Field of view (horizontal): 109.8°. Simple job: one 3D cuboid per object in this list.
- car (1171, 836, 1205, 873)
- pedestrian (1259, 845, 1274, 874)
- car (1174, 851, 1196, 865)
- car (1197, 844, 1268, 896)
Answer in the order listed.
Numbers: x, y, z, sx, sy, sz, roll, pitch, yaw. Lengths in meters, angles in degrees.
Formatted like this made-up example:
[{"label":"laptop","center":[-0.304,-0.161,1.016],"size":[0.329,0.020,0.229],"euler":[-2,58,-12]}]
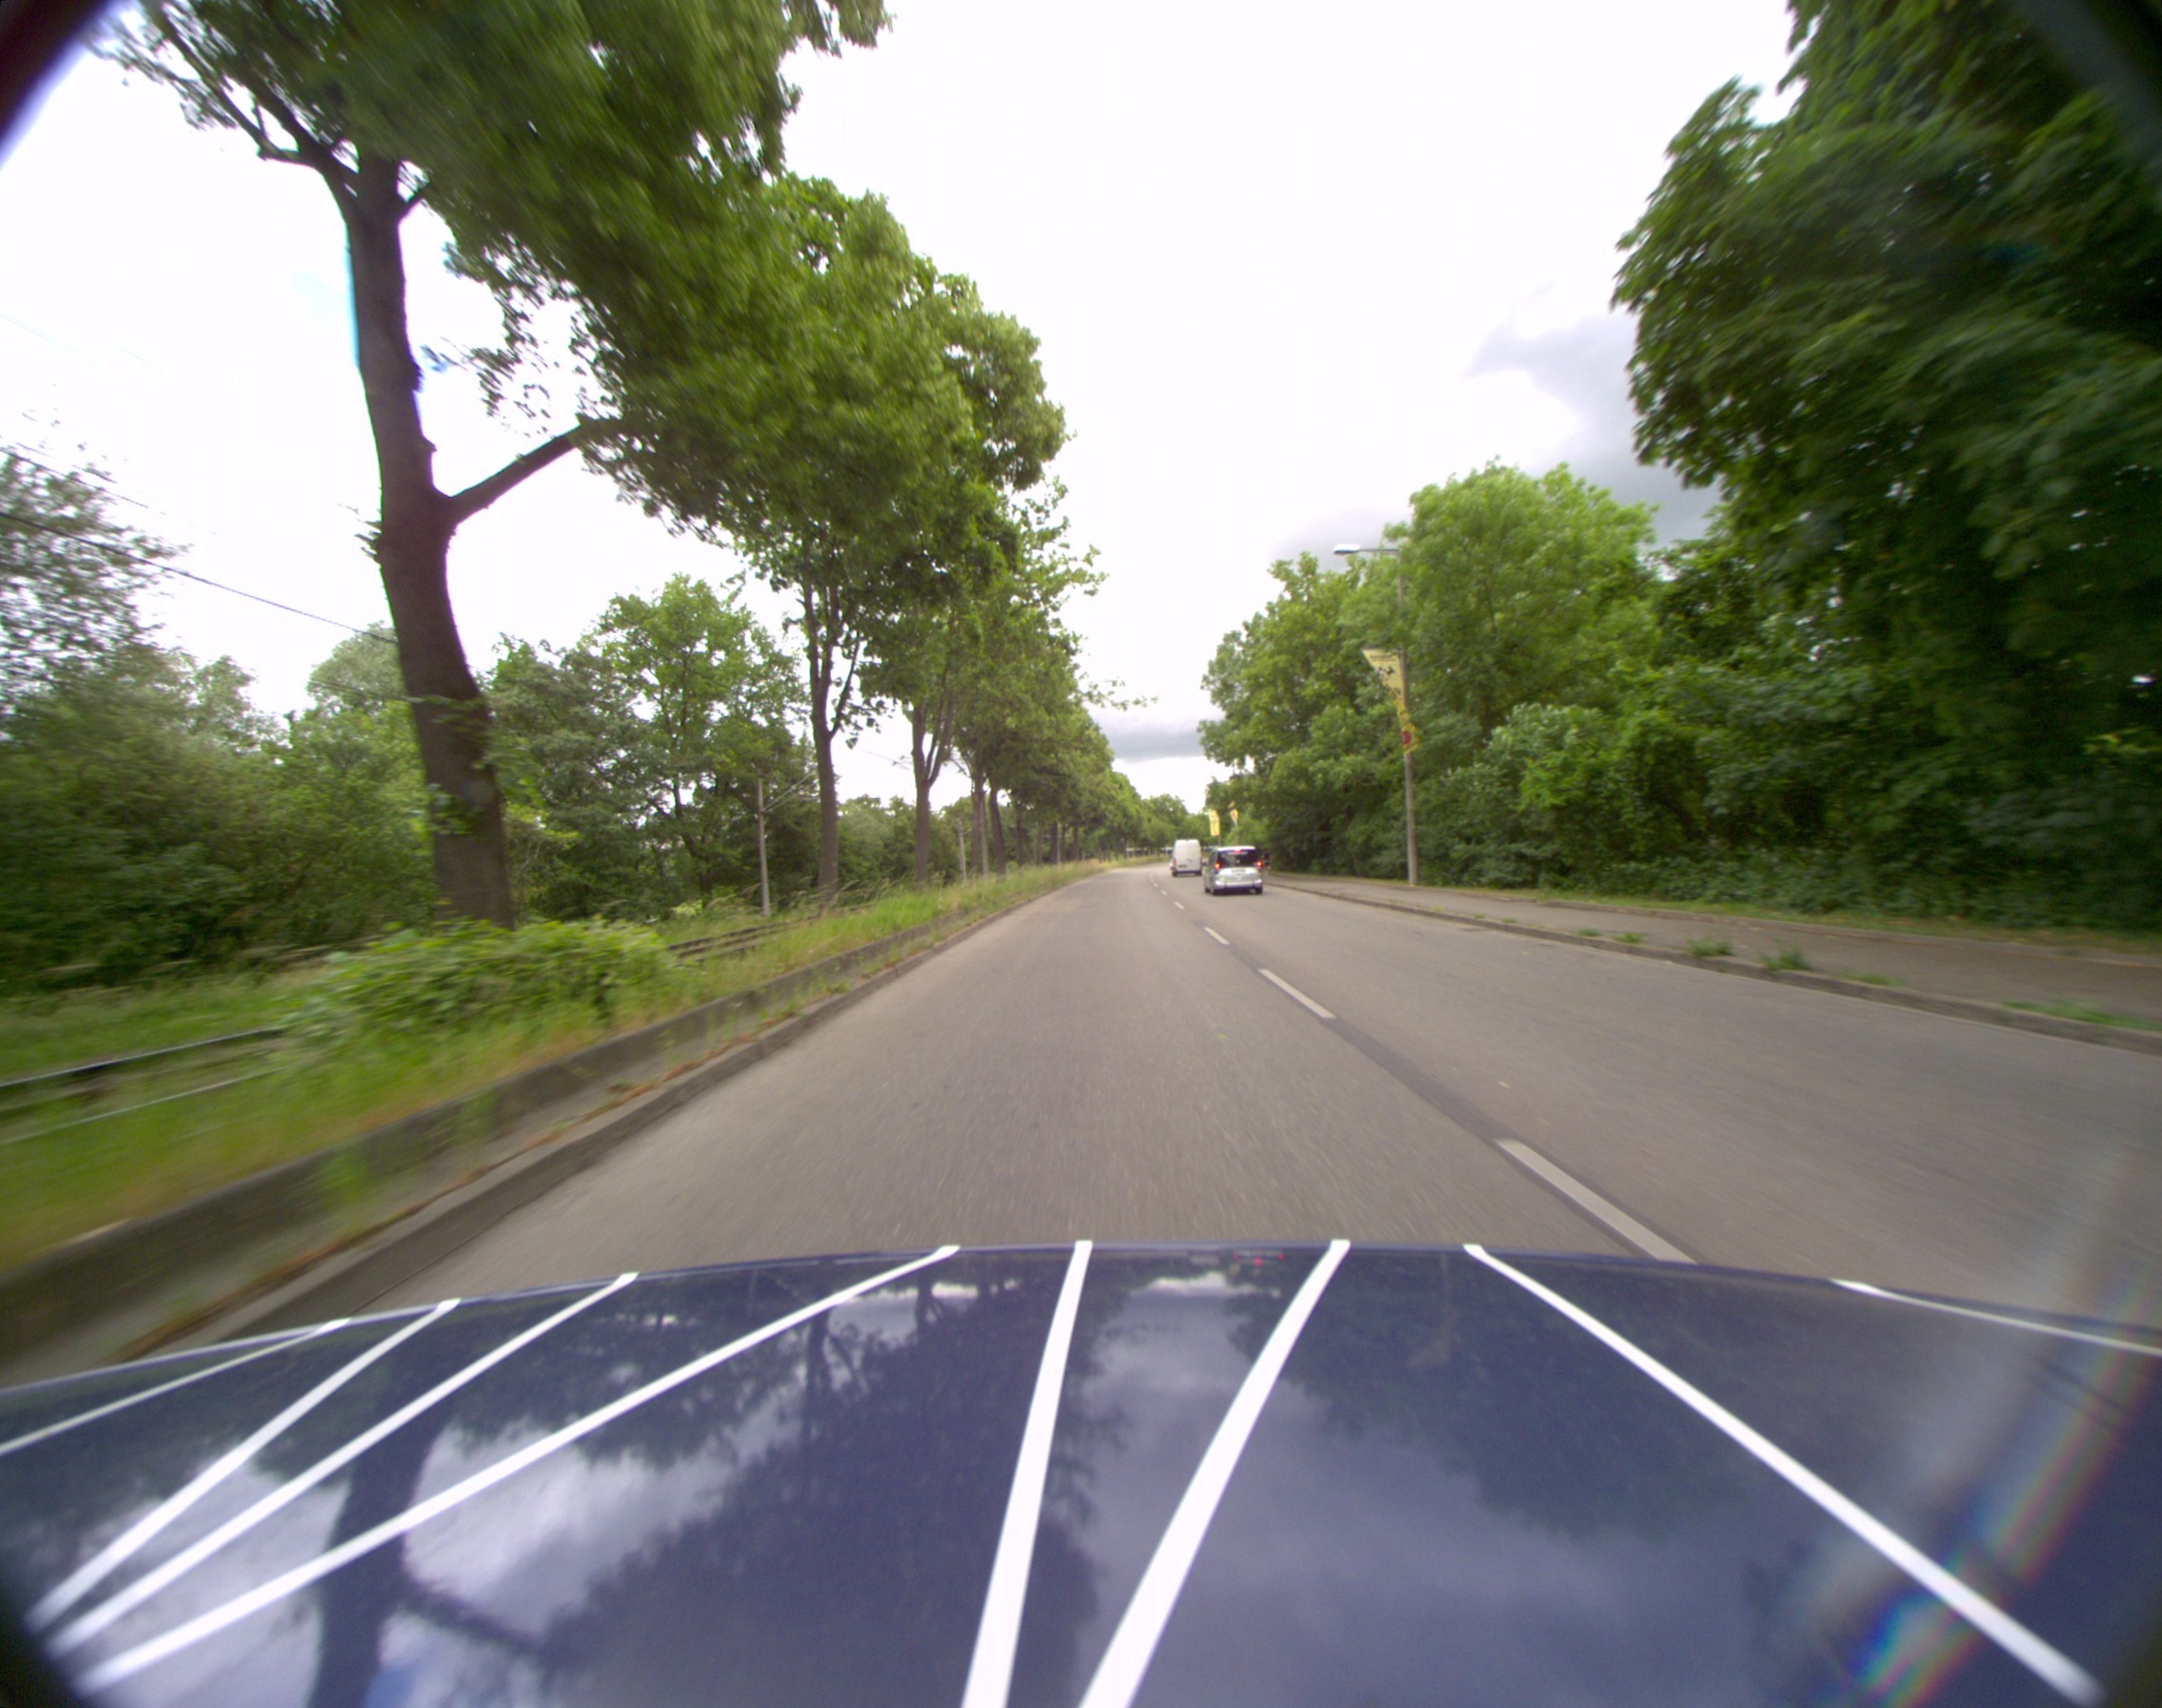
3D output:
[{"label":"car","center":[7.911,0.072,56.615],"size":[1.998,2.611,5.896],"euler":[-1,0,3]},{"label":"pedestrian","center":[11.396,0.323,46.636],"size":[0.600,1.704,0.815],"euler":[-4,0,3]},{"label":"car","center":[11.944,0.463,87.100],"size":[1.726,1.420,4.005],"euler":[-2,0,19]},{"label":"car","center":[5.716,0.559,29.236],"size":[1.861,1.788,4.557],"euler":[-2,0,1]}]
